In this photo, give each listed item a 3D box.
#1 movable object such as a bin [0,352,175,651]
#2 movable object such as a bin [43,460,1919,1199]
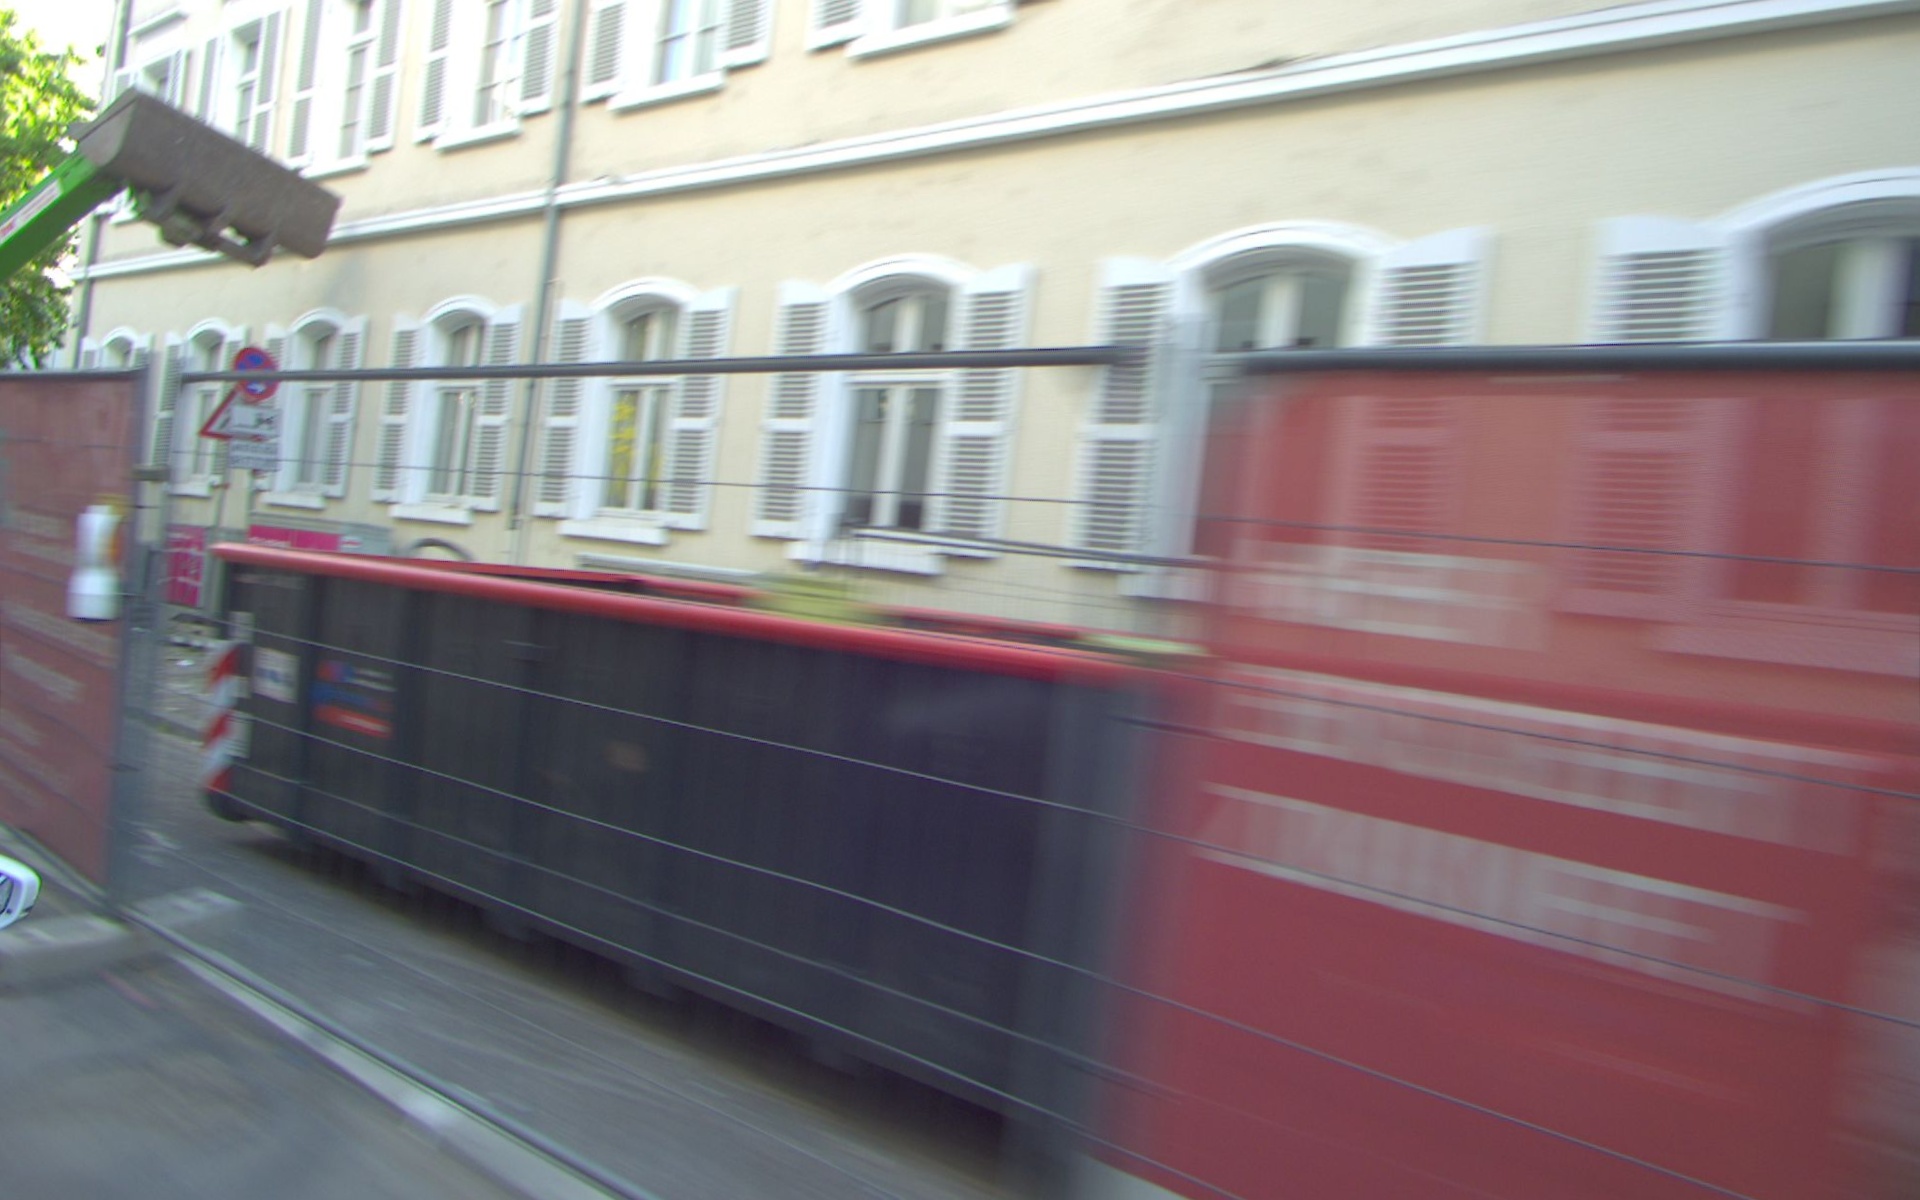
[{"bbox_3d":[-11.843,-1.253,11.300,5.469,2.908,2.640,7,0,29],"label":"movable object such as a bin"},{"bbox_3d":[-0.343,0.689,4.122,7.169,1.685,2.896,7,0,30],"label":"movable object such as a bin"}]
